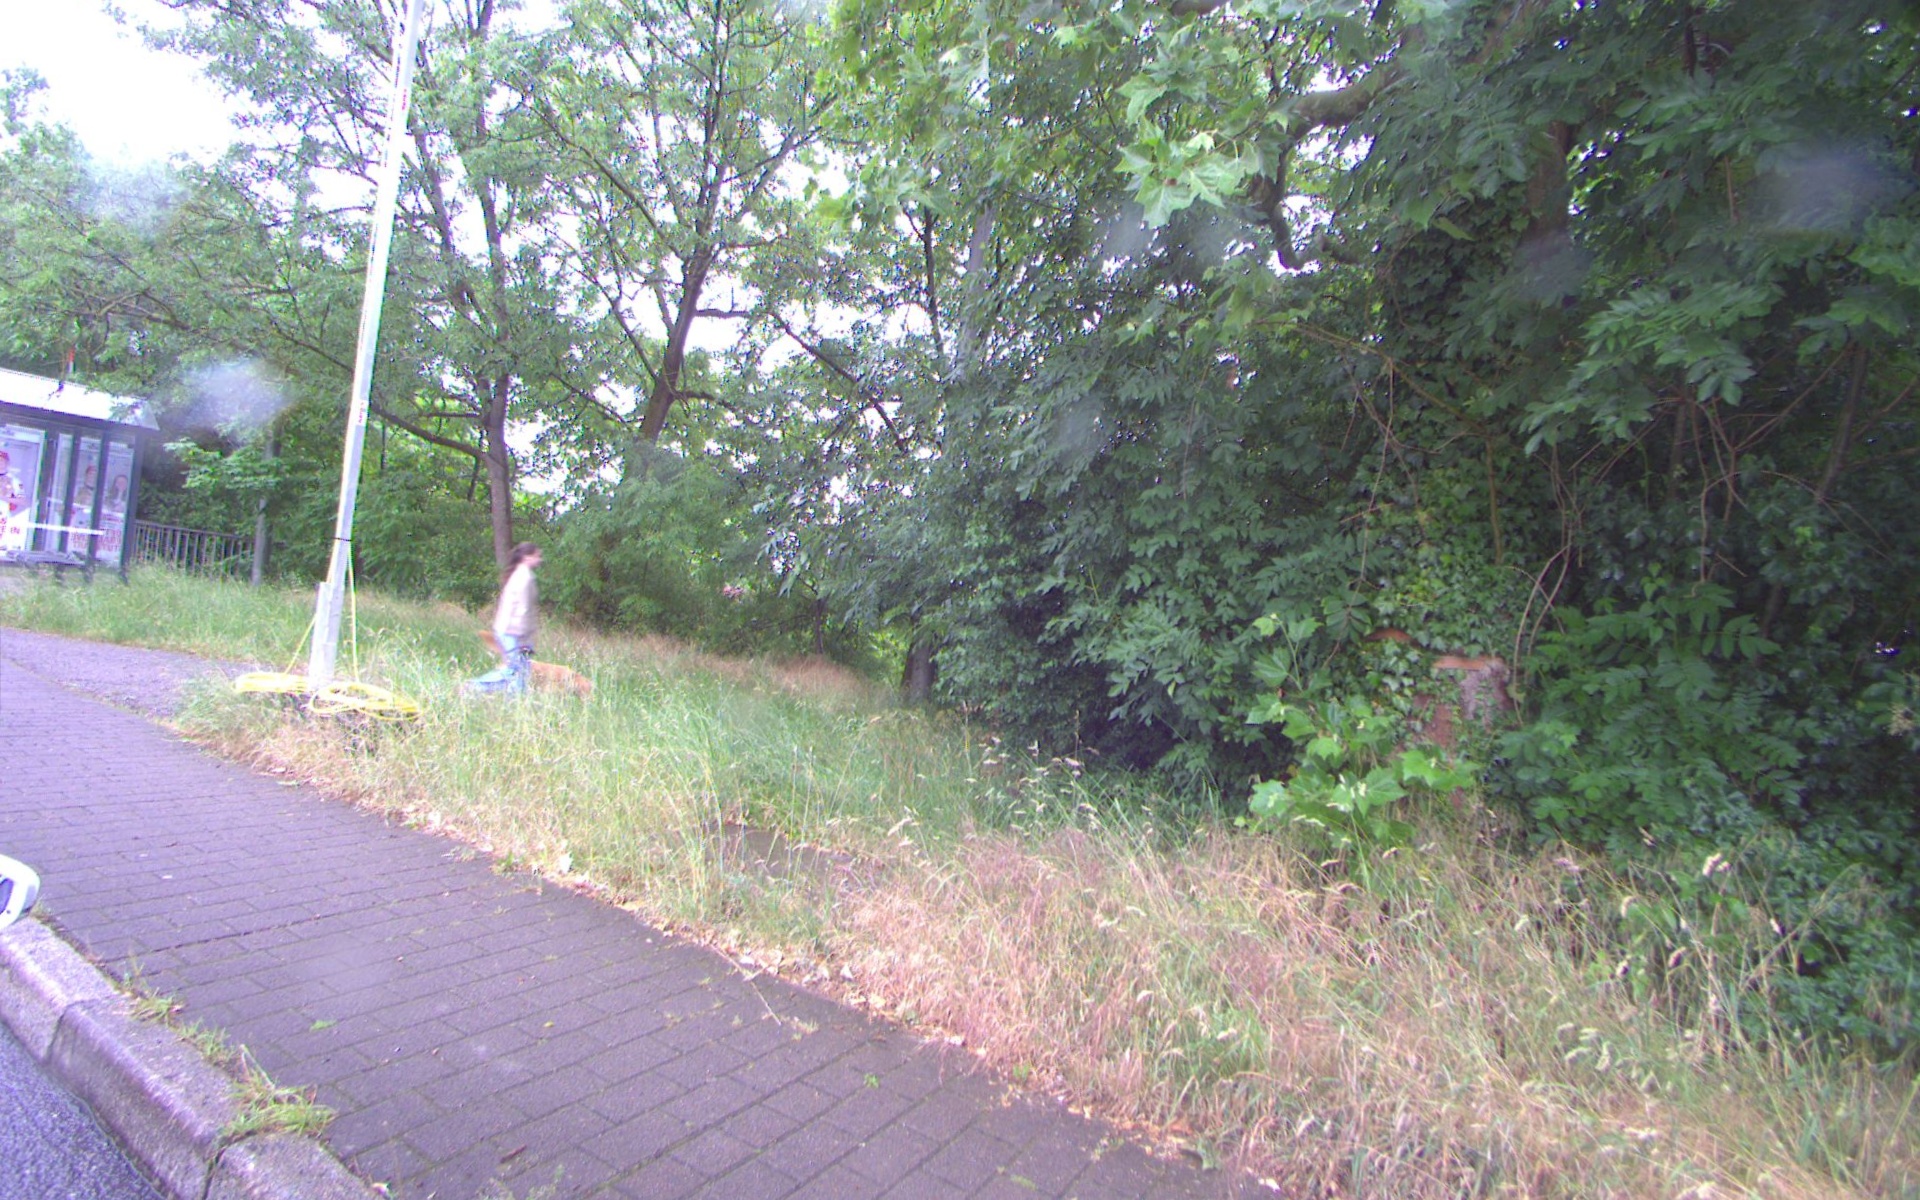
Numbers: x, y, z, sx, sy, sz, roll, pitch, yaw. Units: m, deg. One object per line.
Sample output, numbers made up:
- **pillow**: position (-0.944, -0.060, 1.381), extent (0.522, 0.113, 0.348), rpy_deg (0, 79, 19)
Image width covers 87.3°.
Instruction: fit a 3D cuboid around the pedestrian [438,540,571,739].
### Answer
- **pedestrian**: position (-3.984, 0.339, 8.796), extent (0.746, 1.622, 0.725), rpy_deg (8, -1, -37)
